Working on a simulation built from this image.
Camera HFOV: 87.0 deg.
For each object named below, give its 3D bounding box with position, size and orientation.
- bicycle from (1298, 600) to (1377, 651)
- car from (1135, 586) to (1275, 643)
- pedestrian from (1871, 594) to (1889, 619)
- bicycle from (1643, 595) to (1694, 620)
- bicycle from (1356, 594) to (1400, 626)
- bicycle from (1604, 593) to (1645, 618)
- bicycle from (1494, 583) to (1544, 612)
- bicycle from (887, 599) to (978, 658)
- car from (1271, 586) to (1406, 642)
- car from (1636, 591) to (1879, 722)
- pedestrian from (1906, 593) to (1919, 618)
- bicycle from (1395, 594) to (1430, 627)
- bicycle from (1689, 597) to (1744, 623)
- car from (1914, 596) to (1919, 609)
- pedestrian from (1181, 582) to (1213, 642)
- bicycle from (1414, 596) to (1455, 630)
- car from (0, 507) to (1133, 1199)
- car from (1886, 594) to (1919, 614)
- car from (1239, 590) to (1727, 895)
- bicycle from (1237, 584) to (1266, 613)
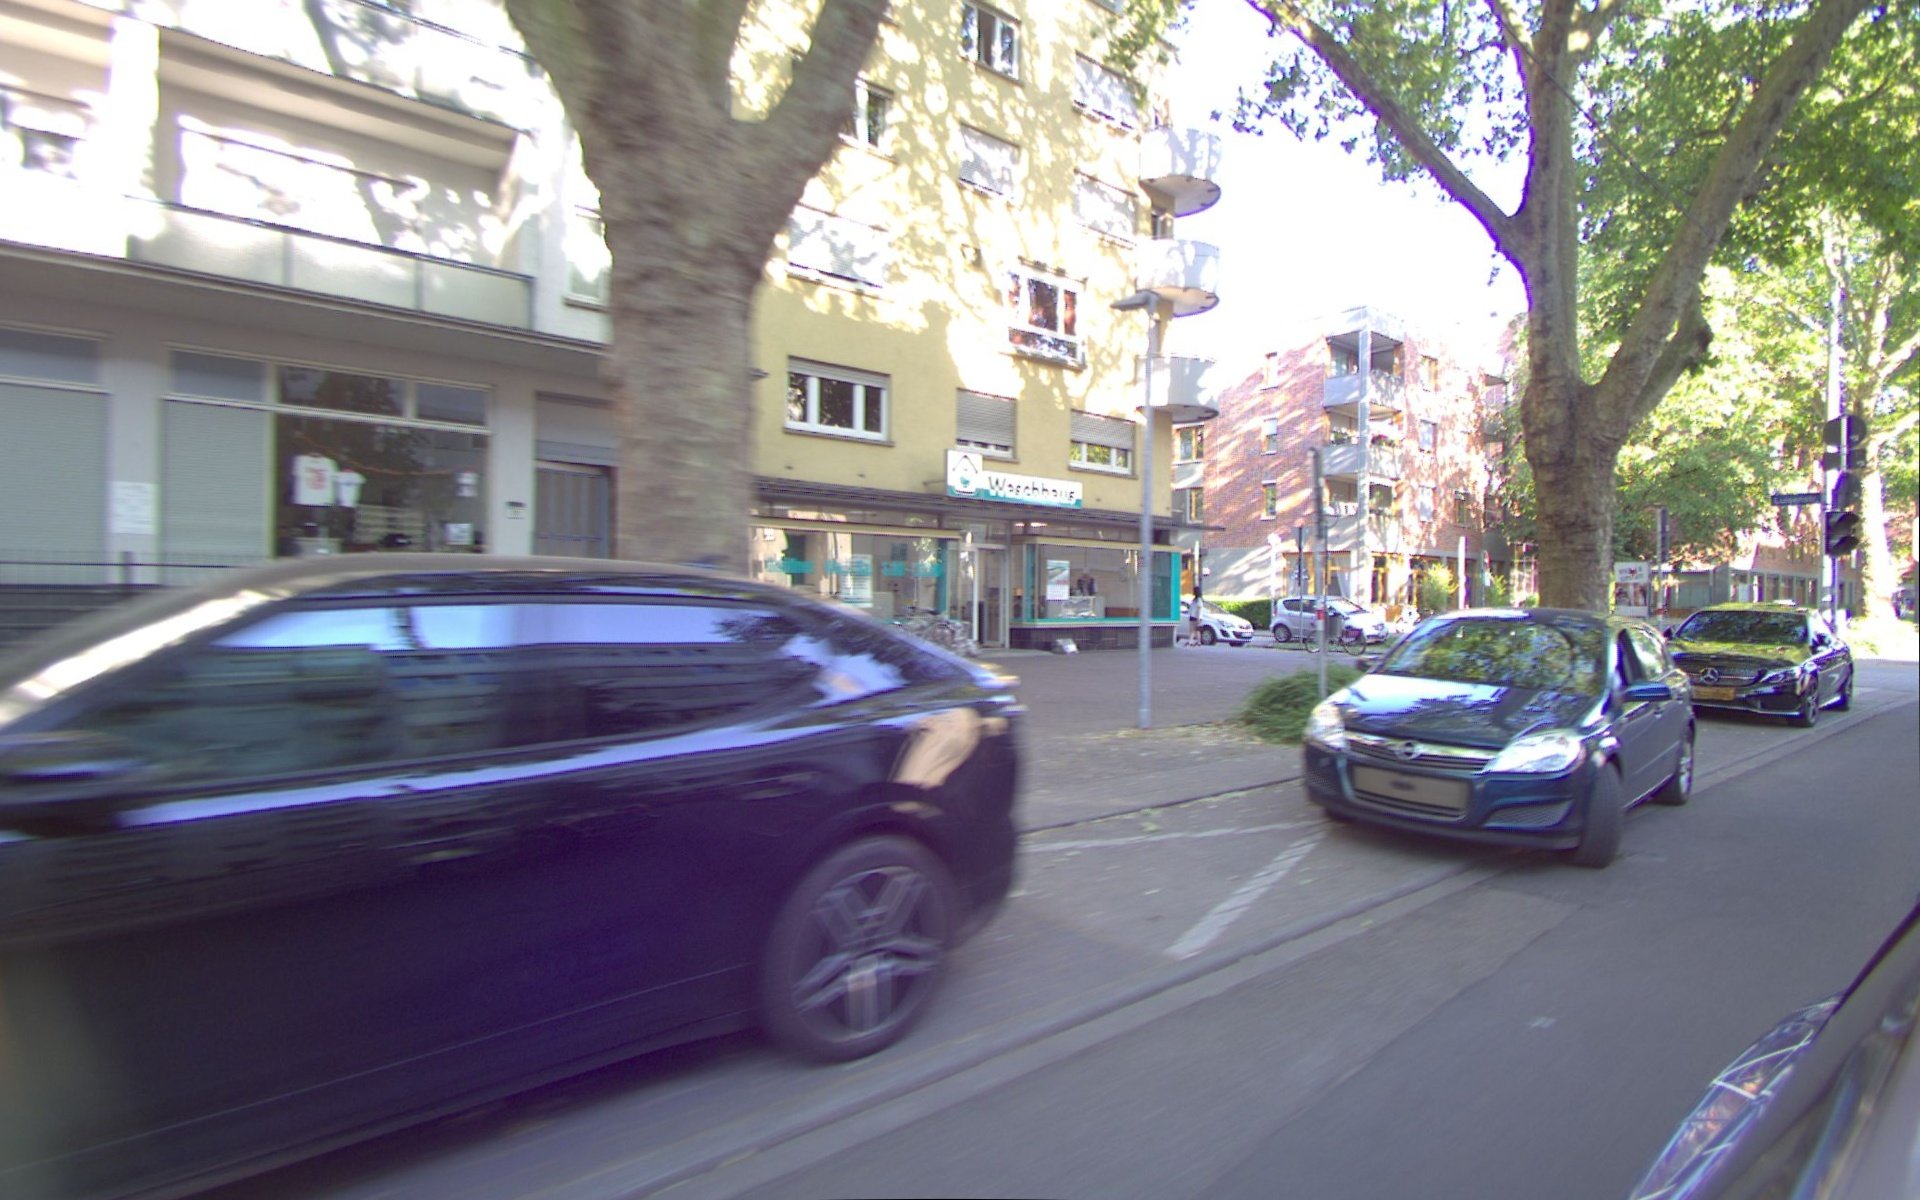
[{"bbox_3d":[9.651,0.627,25.891,1.781,1.171,0.738,3,2,29],"label":"bicycle"},{"bbox_3d":[7.552,0.415,31.410,1.832,1.572,3.870,4,-1,-39],"label":"car"},{"bbox_3d":[62.273,0.433,68.513,0.901,1.680,0.768,0,0,-40],"label":"pedestrian"},{"bbox_3d":[35.926,0.353,51.362,0.561,1.171,2.039,1,2,-34],"label":"bicycle"},{"bbox_3d":[15.896,0.366,38.483,1.945,1.171,0.638,0,2,-37],"label":"bicycle"},{"bbox_3d":[34.724,0.278,52.921,0.561,1.171,1.684,1,2,-34],"label":"bicycle"},{"bbox_3d":[24.449,-0.134,44.298,0.560,1.171,1.939,1,2,-24],"label":"bicycle"},{"bbox_3d":[-0.488,0.499,18.777,1.751,1.009,0.571,0,2,-45],"label":"bicycle"},{"bbox_3d":[12.736,0.422,34.196,1.833,1.714,3.870,0,1,-39],"label":"car"},{"bbox_3d":[10.999,0.633,13.809,4.925,1.480,1.767,0,1,-42],"label":"car"},{"bbox_3d":[66.034,0.365,70.022,0.736,1.712,0.710,1,0,-41],"label":"pedestrian"},{"bbox_3d":[16.858,0.362,37.661,1.670,1.171,0.600,0,2,-45],"label":"bicycle"},{"bbox_3d":[36.700,0.476,49.140,0.562,1.171,2.036,0,2,-39],"label":"bicycle"},{"bbox_3d":[113.405,0.312,117.473,1.964,1.549,3.675,0,1,-38],"label":"car"},{"bbox_3d":[6.257,0.297,26.736,0.677,1.558,0.703,1,0,1],"label":"pedestrian"},{"bbox_3d":[17.078,0.472,36.409,1.666,1.171,0.602,0,2,-37],"label":"bicycle"},{"bbox_3d":[-1.687,0.593,3.174,4.700,1.623,1.861,-1,3,-42],"label":"car"},{"bbox_3d":[75.361,0.296,80.769,3.890,1.527,1.657,0,1,-40],"label":"car"},{"bbox_3d":[3.876,0.693,7.124,4.157,1.455,1.866,0,2,-45],"label":"car"},{"bbox_3d":[12.399,-0.070,43.065,0.562,1.171,1.674,3,2,39],"label":"bicycle"}]
